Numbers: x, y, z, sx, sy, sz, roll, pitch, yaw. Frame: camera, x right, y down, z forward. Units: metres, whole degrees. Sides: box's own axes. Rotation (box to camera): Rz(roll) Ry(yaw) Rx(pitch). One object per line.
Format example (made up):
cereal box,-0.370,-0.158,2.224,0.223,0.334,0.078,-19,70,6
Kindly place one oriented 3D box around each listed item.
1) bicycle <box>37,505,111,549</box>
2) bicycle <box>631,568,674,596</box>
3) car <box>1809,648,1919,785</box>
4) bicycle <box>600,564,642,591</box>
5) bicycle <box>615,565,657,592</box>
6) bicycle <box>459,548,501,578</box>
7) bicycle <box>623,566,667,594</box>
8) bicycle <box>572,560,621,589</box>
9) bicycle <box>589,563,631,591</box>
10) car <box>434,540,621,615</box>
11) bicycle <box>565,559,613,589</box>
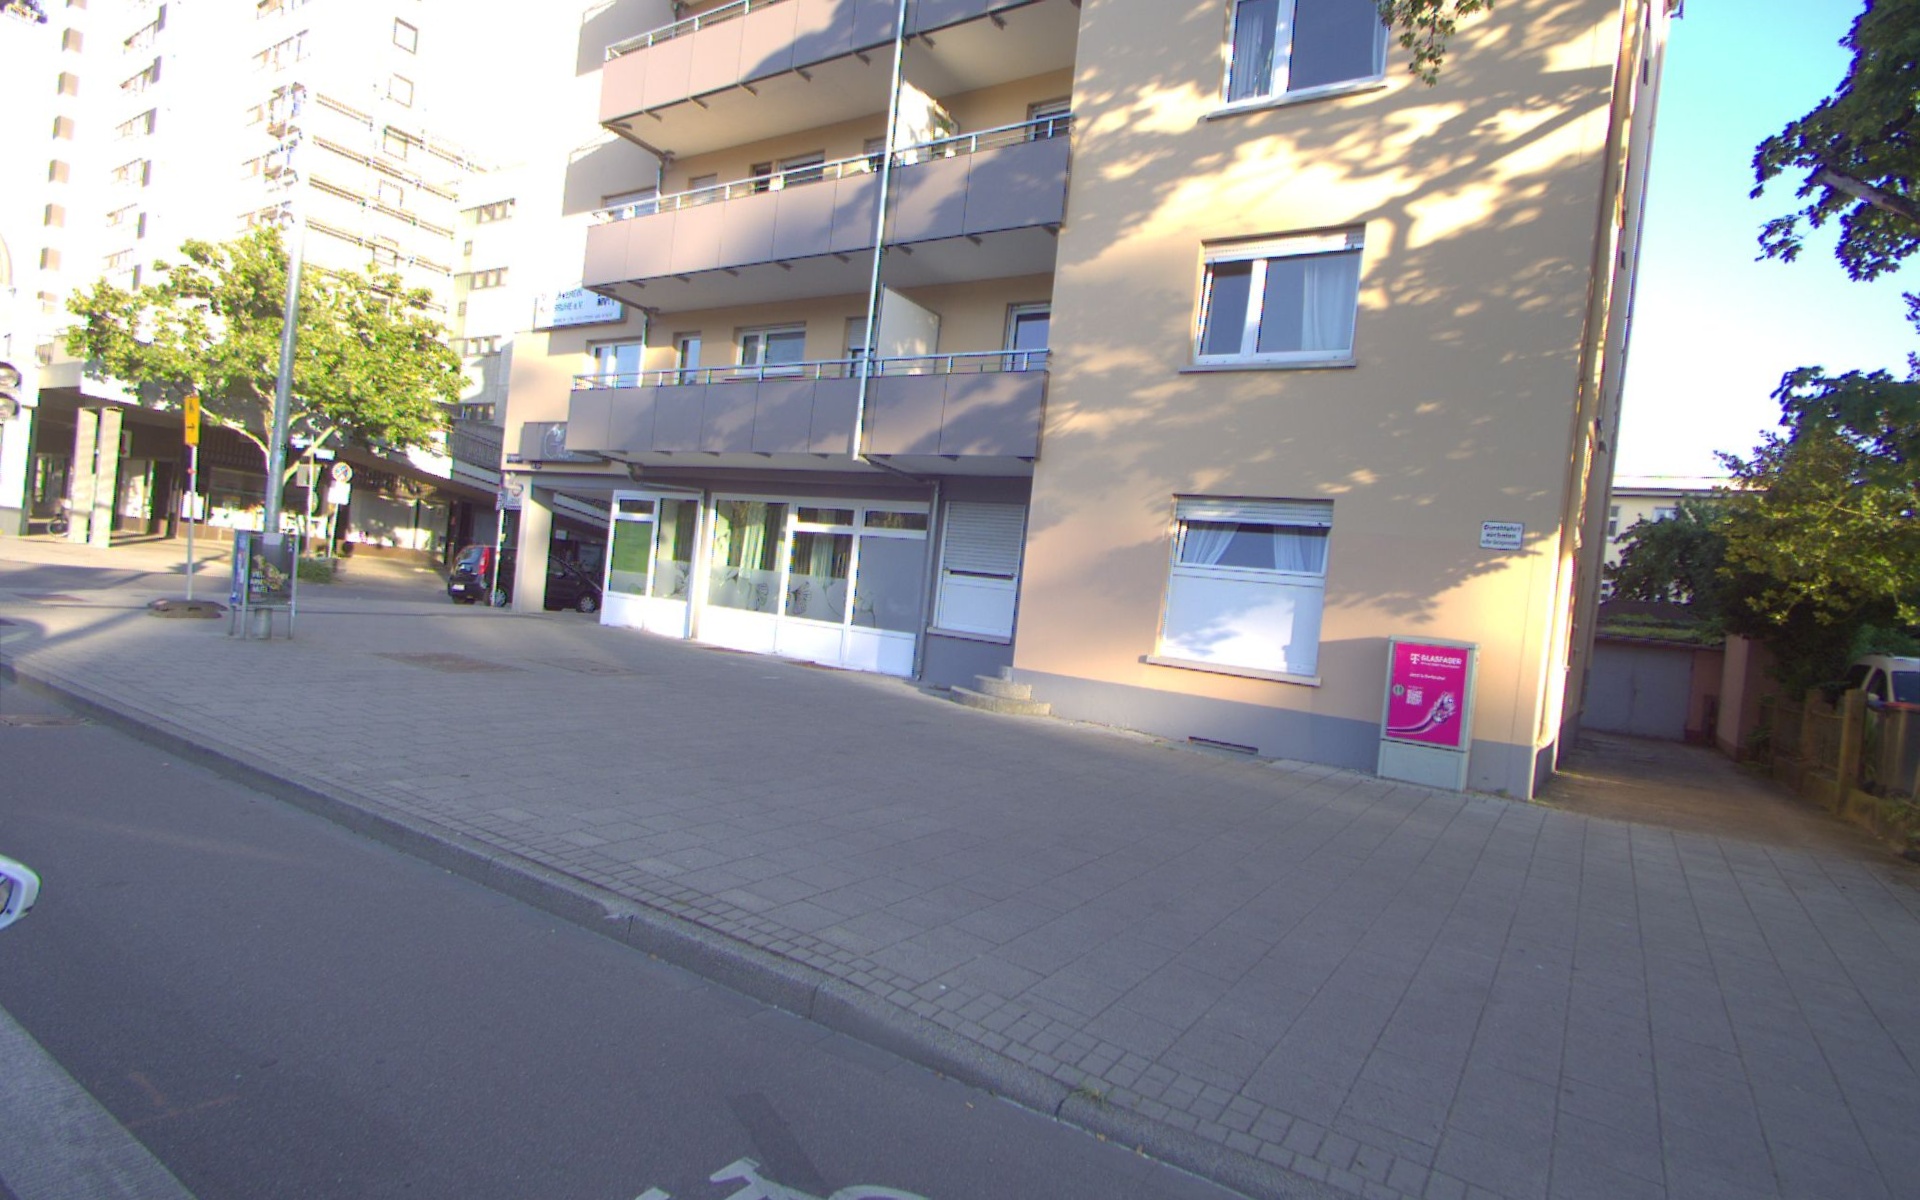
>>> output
bicycle,-28.991,-2.390,32.917,1.984,1.162,0.692,7,-2,14
bicycle,-14.969,-0.882,48.946,1.941,1.087,0.583,6,-2,21
car,14.577,1.742,14.977,1.794,1.780,4.513,8,2,27
bicycle,-15.967,-1.062,47.405,1.943,1.086,0.582,6,-3,29
bicycle,-15.393,-1.016,47.758,1.942,1.087,0.583,6,-3,26
bicycle,-20.197,-1.563,42.343,1.946,1.086,0.581,5,-3,35
bicycle,-15.146,-0.956,48.325,1.941,1.087,0.583,6,-2,21
bicycle,-16.816,-1.168,46.555,1.939,1.086,0.584,7,-2,9
bicycle,-16.333,-1.097,46.967,1.943,1.086,0.582,6,-3,29
car,-10.880,-0.525,25.563,1.680,1.605,4.037,3,-1,36
bicycle,-17.007,-1.197,46.112,1.939,1.087,0.584,7,-2,13
